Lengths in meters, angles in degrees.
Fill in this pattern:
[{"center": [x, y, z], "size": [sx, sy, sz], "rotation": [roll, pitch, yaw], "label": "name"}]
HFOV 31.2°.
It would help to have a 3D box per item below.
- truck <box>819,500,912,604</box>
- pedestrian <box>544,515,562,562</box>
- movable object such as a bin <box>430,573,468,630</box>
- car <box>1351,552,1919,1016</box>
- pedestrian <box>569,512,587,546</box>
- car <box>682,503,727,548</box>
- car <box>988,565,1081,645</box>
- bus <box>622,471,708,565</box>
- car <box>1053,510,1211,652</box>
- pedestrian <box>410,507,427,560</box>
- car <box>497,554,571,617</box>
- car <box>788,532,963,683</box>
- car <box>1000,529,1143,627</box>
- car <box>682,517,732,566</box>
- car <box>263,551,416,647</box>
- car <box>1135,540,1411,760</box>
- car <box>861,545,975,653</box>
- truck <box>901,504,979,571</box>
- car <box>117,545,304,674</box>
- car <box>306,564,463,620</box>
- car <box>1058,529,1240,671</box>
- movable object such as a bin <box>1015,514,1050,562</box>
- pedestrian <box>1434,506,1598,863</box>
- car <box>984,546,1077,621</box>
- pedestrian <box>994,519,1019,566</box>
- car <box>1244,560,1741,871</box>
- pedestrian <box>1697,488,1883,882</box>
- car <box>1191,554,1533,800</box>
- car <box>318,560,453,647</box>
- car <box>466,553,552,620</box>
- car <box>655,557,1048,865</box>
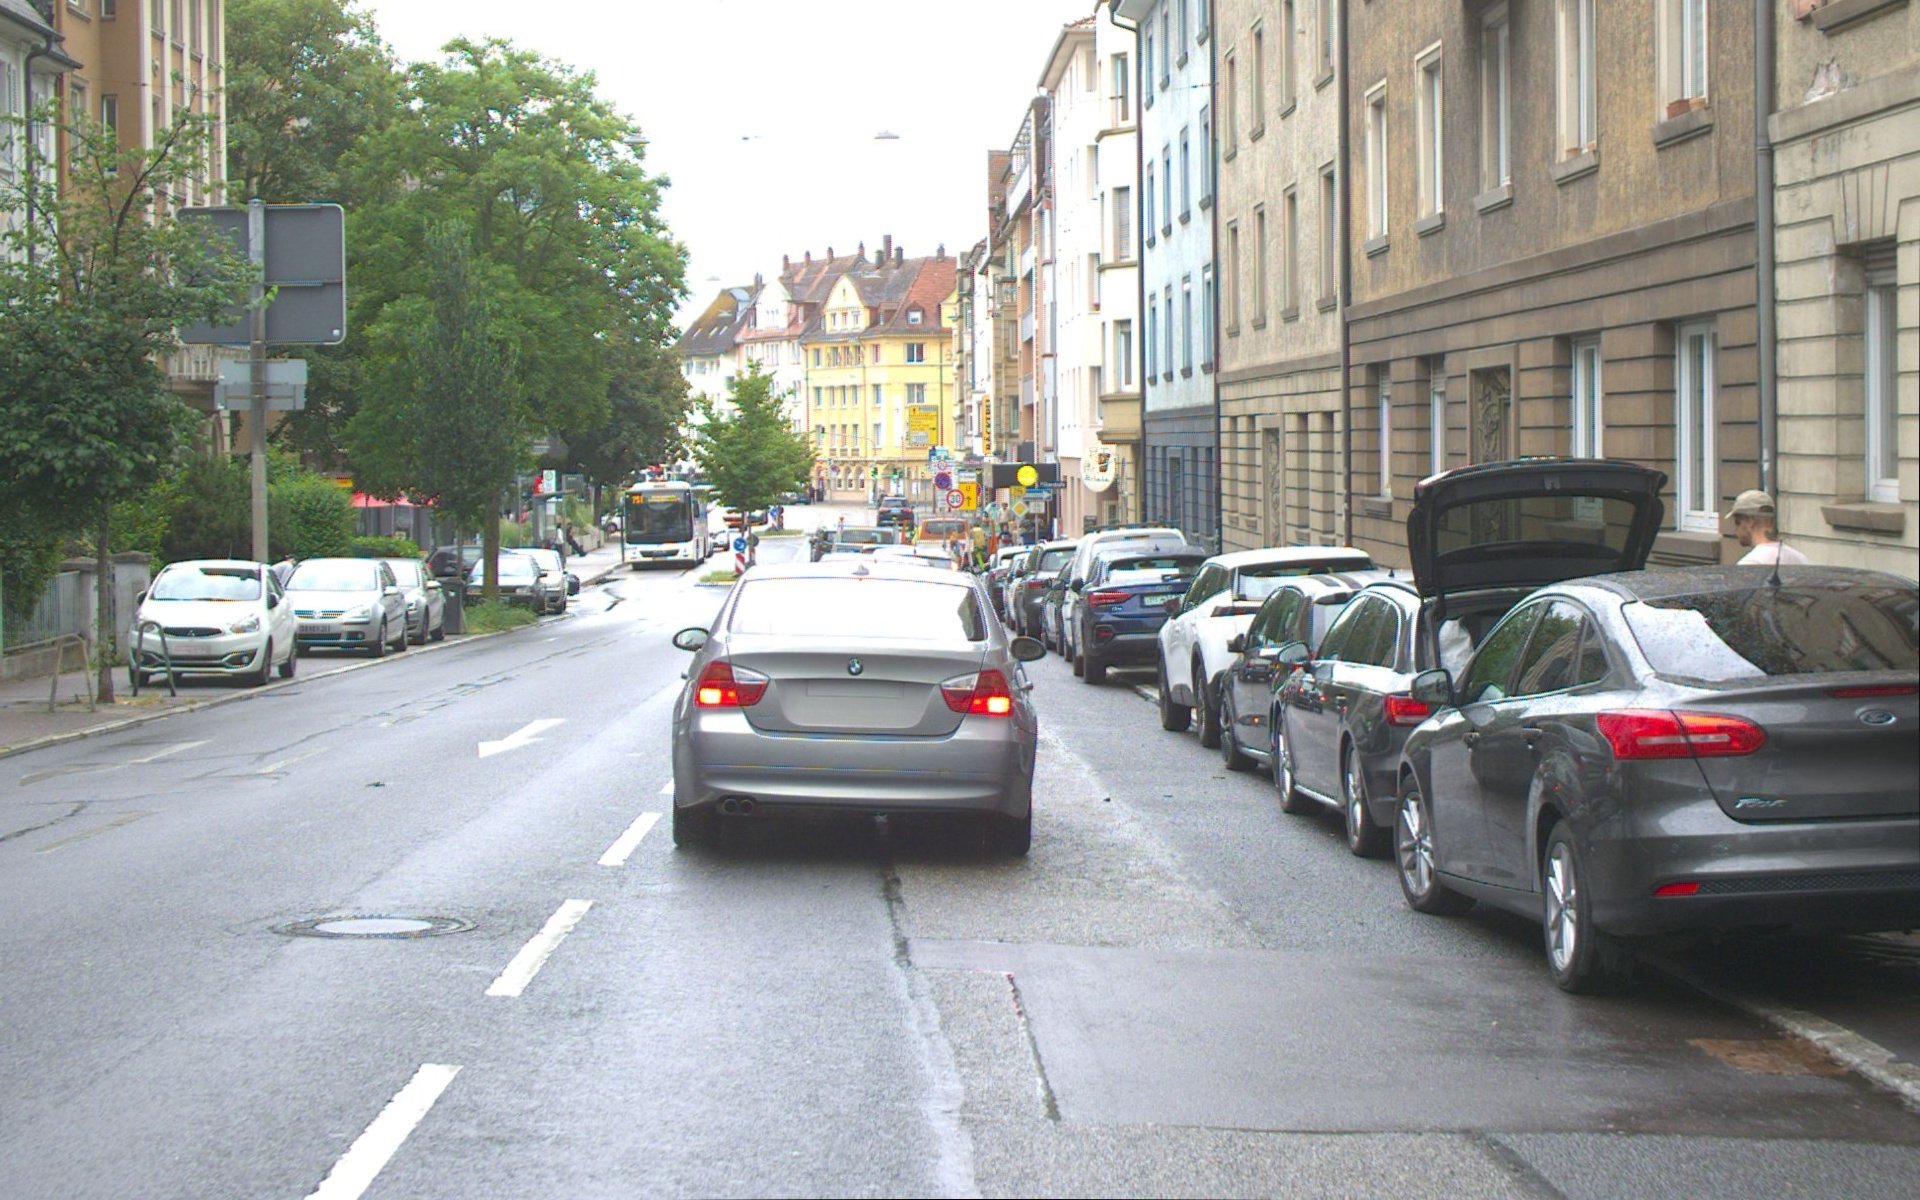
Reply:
[{"center": [-2.485, -1.209, 89.441], "size": [2.216, 2.535, 4.780], "rotation": [3, 0, -3], "label": "truck"}, {"center": [-15.058, -2.257, 127.171], "size": [0.542, 1.703, 0.466], "rotation": [3, 0, -8], "label": "pedestrian"}, {"center": [-9.445, 0.029, 63.561], "size": [0.630, 1.054, 0.600], "rotation": [0, 0, -1], "label": "movable object such as a bin"}, {"center": [2.773, 0.580, 13.114], "size": [1.777, 1.474, 4.190], "rotation": [0, 0, -4], "label": "car"}, {"center": [-15.705, -2.909, 141.413], "size": [0.619, 1.373, 0.544], "rotation": [3, 0, 0], "label": "pedestrian"}, {"center": [-12.432, -3.603, 167.342], "size": [1.993, 2.007, 4.000], "rotation": [3, 0, -3], "label": "car"}, {"center": [1.440, 0.079, 67.745], "size": [1.583, 1.425, 3.595], "rotation": [-3, 1, -2], "label": "car"}, {"center": [-11.206, -3.037, 131.543], "size": [2.681, 3.190, 11.957], "rotation": [3, 0, -3], "label": "bus"}, {"center": [2.299, -0.286, 46.905], "size": [1.790, 1.811, 4.080], "rotation": [-1, 1, -2], "label": "car"}, {"center": [-18.765, -2.299, 119.135], "size": [0.464, 1.783, 0.545], "rotation": [3, 0, -8], "label": "pedestrian"}, {"center": [-10.180, -0.371, 82.271], "size": [1.631, 1.449, 3.840], "rotation": [0, 1, -5], "label": "car"}, {"center": [-0.920, 0.071, 35.735], "size": [1.601, 1.415, 3.288], "rotation": [3, 0, -4], "label": "car"}, {"center": [1.692, -0.354, 53.563], "size": [1.840, 1.404, 4.388], "rotation": [-2, 1, -3], "label": "car"}, {"center": [-11.182, -2.572, 151.877], "size": [1.993, 2.007, 4.000], "rotation": [3, 0, -3], "label": "car"}, {"center": [-9.448, -0.044, 52.579], "size": [1.682, 1.385, 3.909], "rotation": [1, 1, -1], "label": "car"}, {"center": [2.540, 0.366, 28.795], "size": [1.632, 1.633, 4.196], "rotation": [3, 0, -3], "label": "car"}, {"center": [-0.554, -0.015, 47.064], "size": [1.435, 1.352, 3.762], "rotation": [3, 0, 0], "label": "car"}, {"center": [-0.714, -2.143, 118.351], "size": [2.215, 2.109, 4.653], "rotation": [4, 0, -4], "label": "truck"}, {"center": [-9.180, 0.112, 42.354], "size": [1.645, 1.503, 3.797], "rotation": [0, 0, -3], "label": "car"}, {"center": [-15.059, -0.208, 90.091], "size": [3.815, 1.385, 1.743], "rotation": [1, 0, -2], "label": "car"}, {"center": [2.172, -0.036, 40.506], "size": [1.790, 1.543, 4.226], "rotation": [-1, 1, -1], "label": "car"}, {"center": [2.641, -2.259, 125.401], "size": [1.122, 1.697, 1.434], "rotation": [-1, 0, -4], "label": "movable object such as a bin"}, {"center": [2.703, 0.411, 16.771], "size": [0.630, 1.685, 0.635], "rotation": [-2, -2, 0], "label": "pedestrian"}, {"center": [1.508, -0.379, 74.855], "size": [1.818, 1.552, 4.293], "rotation": [-2, 1, -1], "label": "car"}, {"center": [1.708, -2.085, 125.166], "size": [0.750, 1.655, 0.754], "rotation": [3, 0, 8], "label": "pedestrian"}, {"center": [2.733, 0.544, 18.690], "size": [1.777, 1.474, 4.588], "rotation": [0, 0, -3], "label": "car"}, {"center": [3.871, 0.391, 16.012], "size": [0.712, 1.781, 0.686], "rotation": [-2, 0, 19], "label": "pedestrian"}, {"center": [2.659, 0.467, 23.517], "size": [1.632, 1.473, 3.735], "rotation": [3, 0, -3], "label": "car"}, {"center": [-9.732, 0.040, 58.472], "size": [1.682, 1.385, 3.936], "rotation": [-1, 1, -1], "label": "car"}, {"center": [-10.186, -0.328, 77.800], "size": [1.653, 1.449, 3.943], "rotation": [0, 1, -3], "label": "car"}, {"center": [-0.543, 0.508, 17.262], "size": [1.756, 1.358, 3.165], "rotation": [2, 0, -2], "label": "car"}]
